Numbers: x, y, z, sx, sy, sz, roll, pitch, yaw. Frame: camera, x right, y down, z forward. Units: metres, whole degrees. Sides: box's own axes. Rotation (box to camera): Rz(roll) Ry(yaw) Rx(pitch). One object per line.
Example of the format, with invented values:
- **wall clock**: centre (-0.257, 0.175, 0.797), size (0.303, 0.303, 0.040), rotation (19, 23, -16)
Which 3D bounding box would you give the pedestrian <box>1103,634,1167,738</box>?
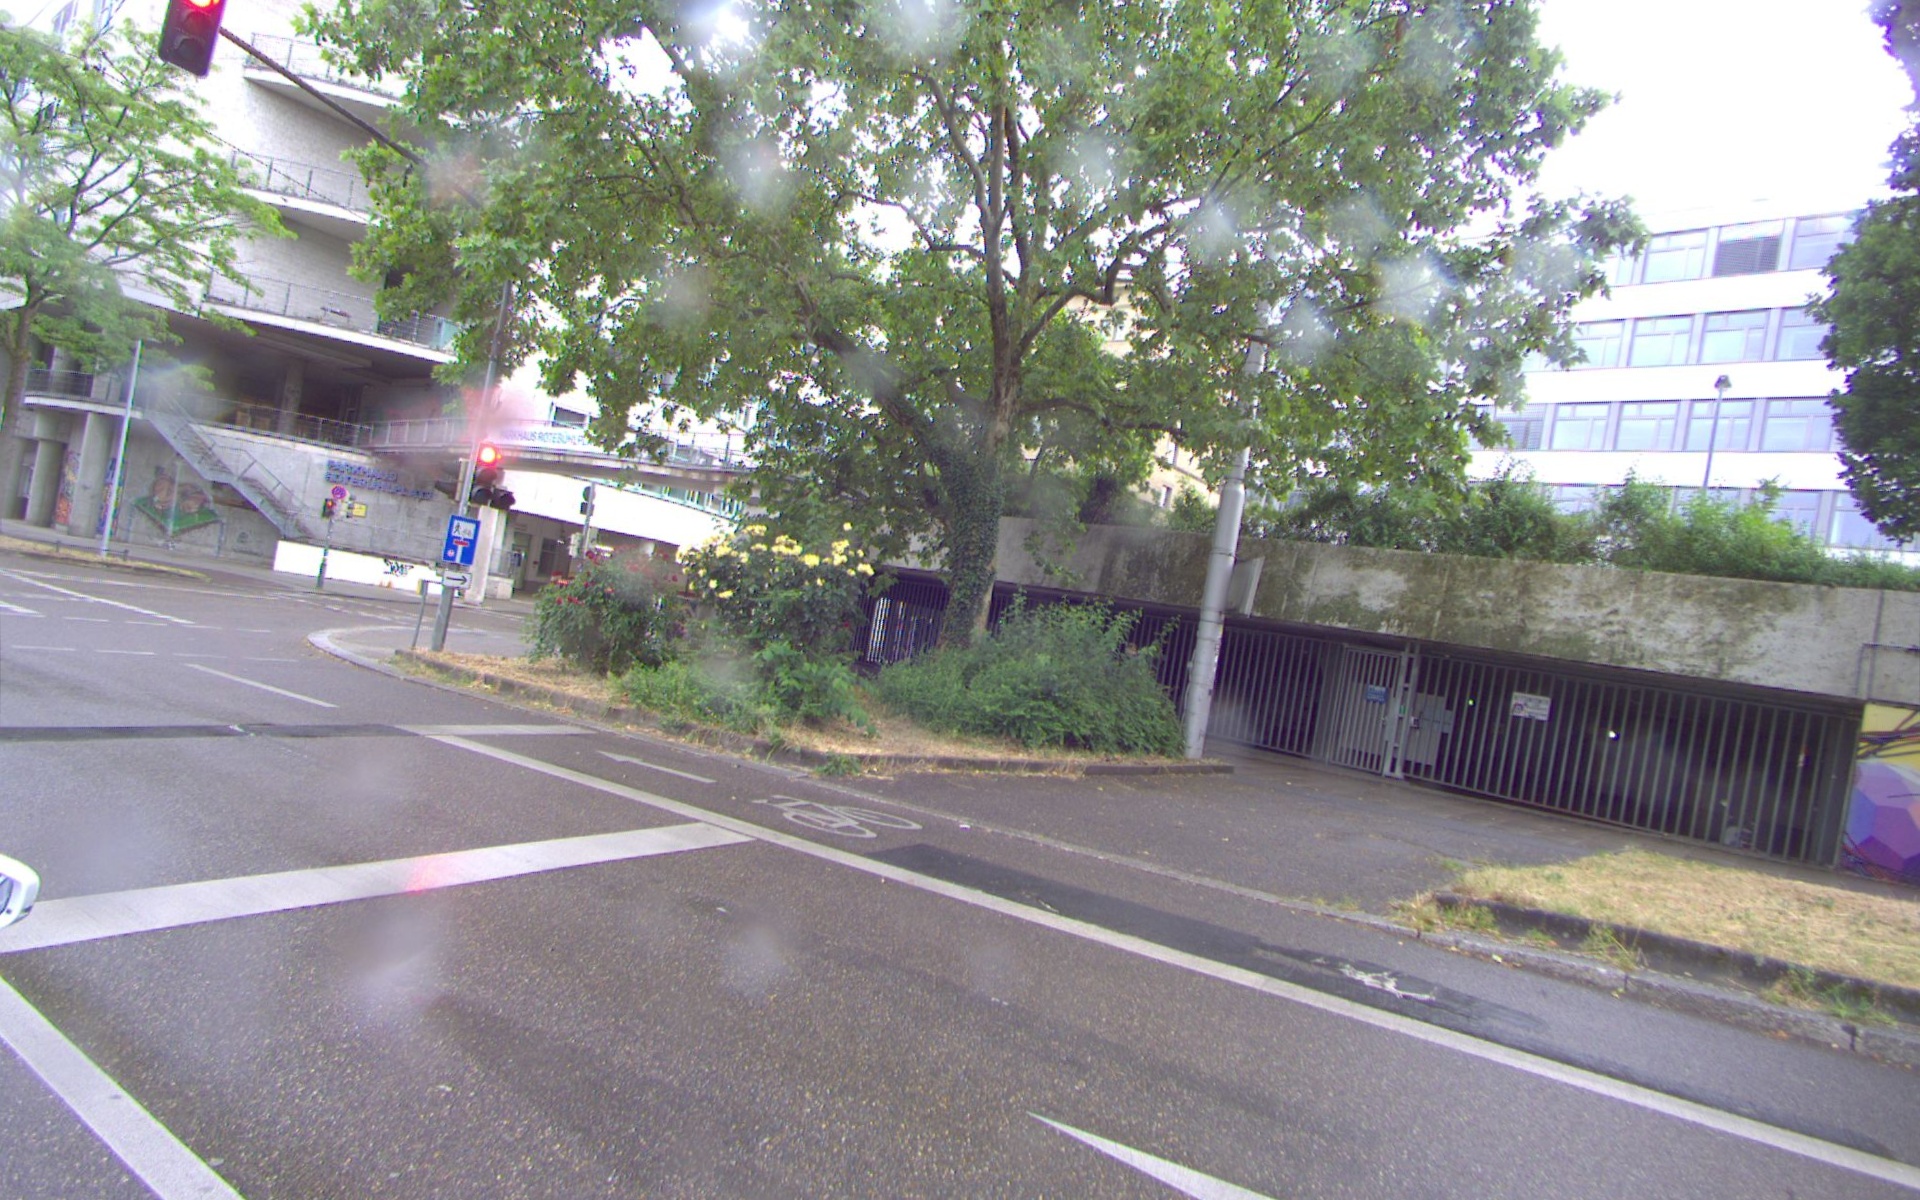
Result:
- **pedestrian**: centre (3.478, 1.717, 19.985), size (0.745, 1.932, 0.847), rotation (8, -1, 31)
